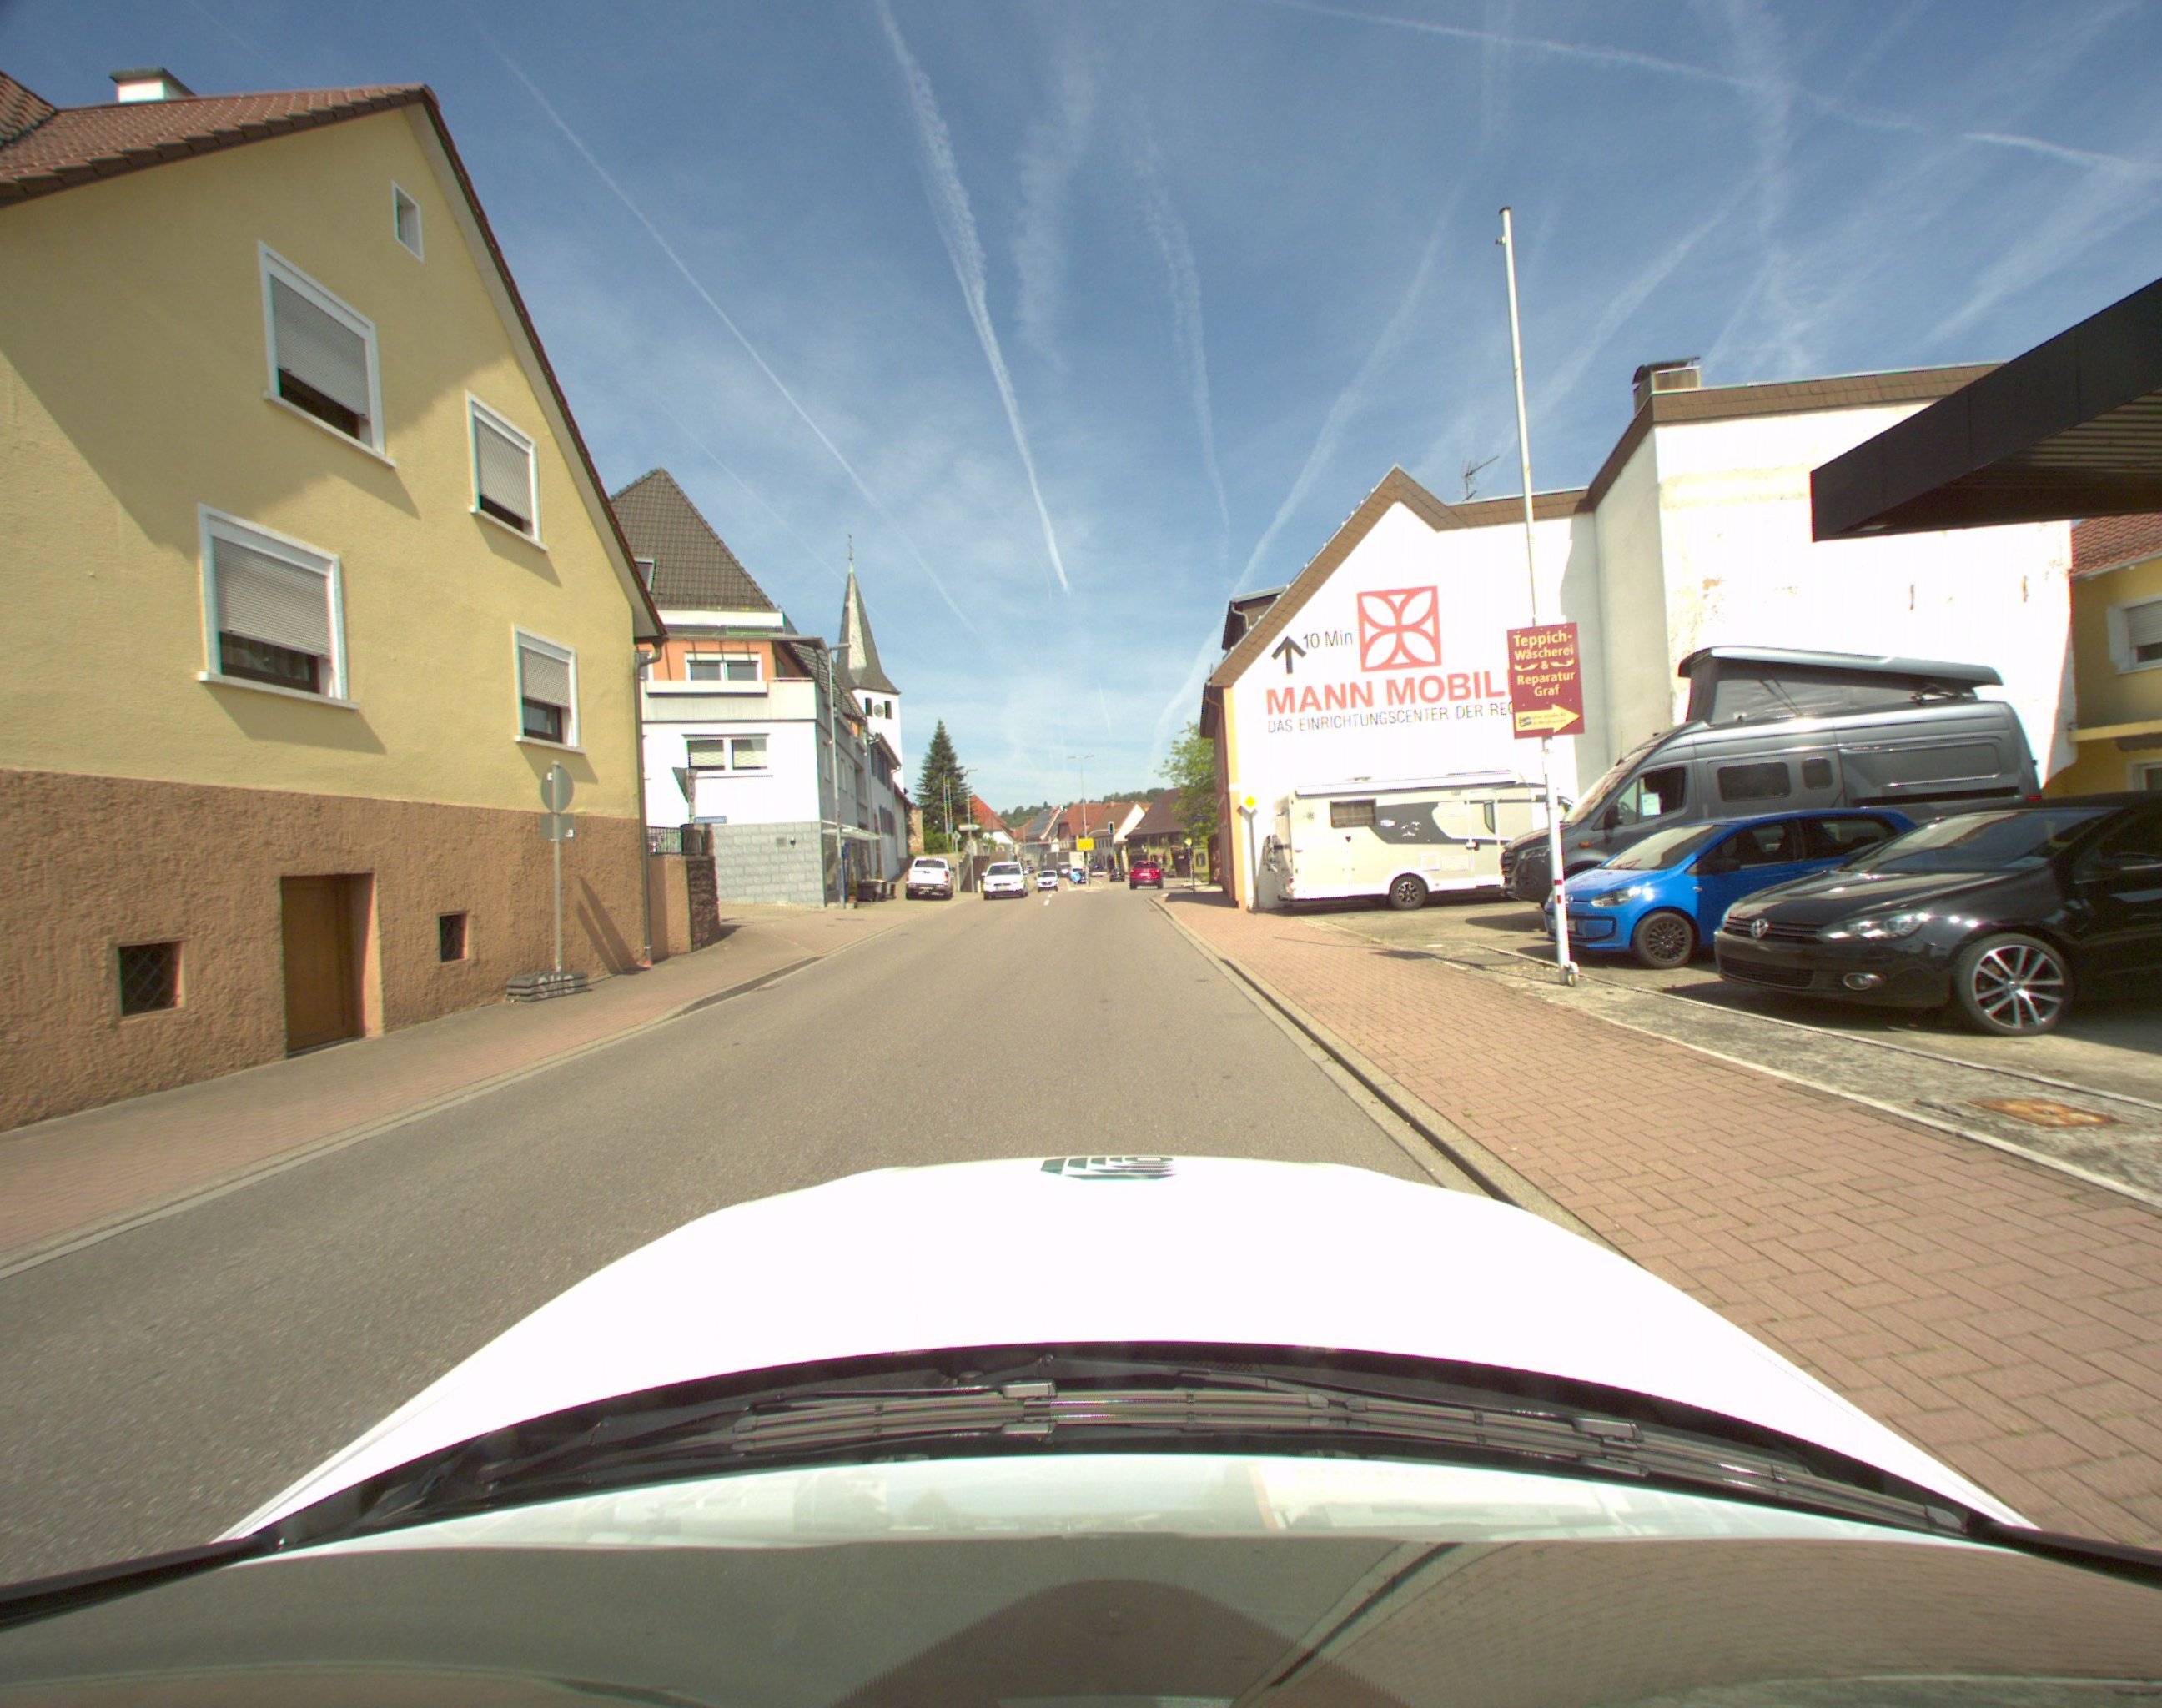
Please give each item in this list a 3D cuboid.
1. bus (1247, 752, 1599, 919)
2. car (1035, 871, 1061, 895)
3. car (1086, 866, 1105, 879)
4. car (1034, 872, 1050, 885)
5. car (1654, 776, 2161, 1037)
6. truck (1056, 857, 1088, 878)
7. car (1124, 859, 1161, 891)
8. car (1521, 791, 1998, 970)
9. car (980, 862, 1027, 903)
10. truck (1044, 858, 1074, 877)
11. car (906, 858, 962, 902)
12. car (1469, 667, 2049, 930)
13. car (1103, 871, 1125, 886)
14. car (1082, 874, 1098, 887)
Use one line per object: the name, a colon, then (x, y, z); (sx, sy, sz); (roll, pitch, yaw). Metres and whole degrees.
bus: (7.172, -0.337, 17.788); (6.535, 2.905, 2.232); (-4, -2, 4)
car: (-2.982, 2.607, 74.765); (1.962, 1.933, 5.313); (-3, -1, 0)
car: (2.247, 2.845, 124.768); (1.850, 2.014, 3.978); (0, -1, -15)
car: (-6.893, 4.365, 144.031); (1.761, 2.246, 4.528); (0, -1, -15)
car: (6.773, 0.261, 5.716); (4.141, 1.481, 1.730); (-4, -1, 5)
truck: (-1.654, 2.304, 140.214); (3.229, 3.549, 9.182); (0, -1, -15)
car: (3.659, 1.209, 47.887); (1.794, 1.663, 3.821); (-4, 0, 8)
car: (7.118, 0.262, 8.818); (3.788, 1.528, 1.582); (-3, -1, 0)
car: (-3.225, 1.168, 34.383); (1.725, 1.542, 3.807); (-3, 0, -4)
truck: (-4.188, 2.549, 149.842); (3.165, 3.461, 10.655); (0, -2, -15)
car: (-6.401, 1.109, 36.059); (1.801, 1.798, 5.279); (1, -1, -3)
car: (9.093, -0.582, 11.836); (5.908, 2.987, 2.330); (-4, -1, 21)
car: (4.204, 3.131, 105.350); (1.823, 1.739, 3.987); (-3, 0, -13)
car: (1.165, 3.304, 101.988); (1.813, 1.434, 4.252); (-3, -1, 3)
